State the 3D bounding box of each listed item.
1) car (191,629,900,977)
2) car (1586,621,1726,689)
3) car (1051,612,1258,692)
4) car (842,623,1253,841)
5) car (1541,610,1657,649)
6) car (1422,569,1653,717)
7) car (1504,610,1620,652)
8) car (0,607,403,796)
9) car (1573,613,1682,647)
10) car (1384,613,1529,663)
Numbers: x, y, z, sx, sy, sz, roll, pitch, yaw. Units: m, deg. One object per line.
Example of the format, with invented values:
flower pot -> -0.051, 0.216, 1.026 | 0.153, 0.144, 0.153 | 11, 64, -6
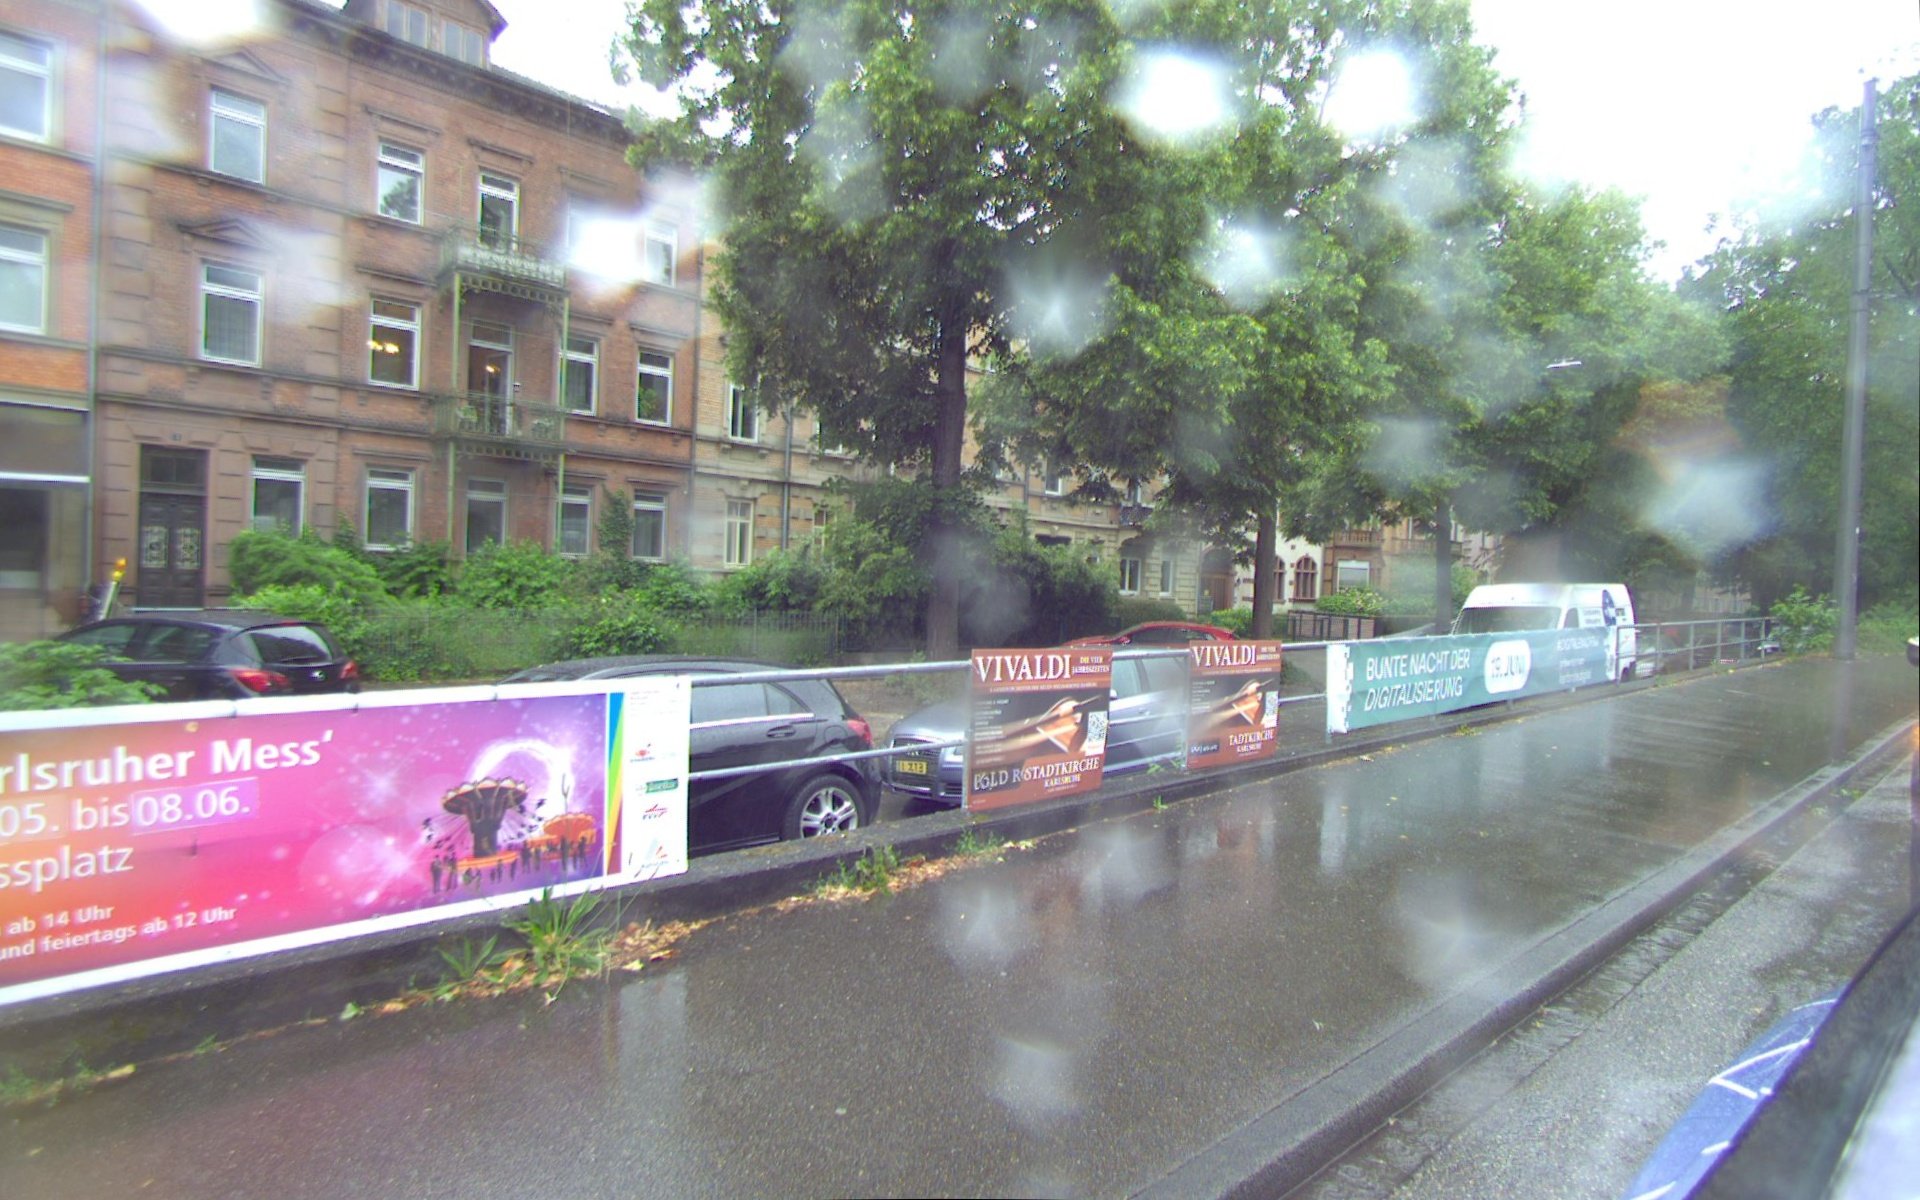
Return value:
car -> -2.450, 0.976, 6.514 | 3.903, 1.417, 1.706 | 0, 1, -41
car -> 16.685, 1.240, 24.173 | 4.312, 1.370, 1.968 | 0, 0, -44
car -> 4.385, 1.105, 22.723 | 4.372, 1.471, 1.888 | 2, 1, 18
car -> 0.990, 1.057, 9.769 | 4.006, 1.559, 1.734 | 0, 0, -43
car -> 28.496, 1.305, 45.284 | 3.942, 1.585, 1.991 | 0, 1, 15
car -> 11.358, 0.707, 19.658 | 6.055, 2.451, 2.211 | 0, 0, -43
car -> 25.587, 1.284, 43.163 | 3.948, 1.629, 1.815 | 1, 1, 19
car -> -8.536, 0.981, 11.143 | 3.941, 1.735, 1.991 | 0, 1, 14
car -> 32.068, 1.422, 48.720 | 3.942, 1.482, 1.904 | 0, 1, 15
car -> 16.507, 1.233, 33.882 | 4.214, 1.397, 1.679 | 2, 2, 22
